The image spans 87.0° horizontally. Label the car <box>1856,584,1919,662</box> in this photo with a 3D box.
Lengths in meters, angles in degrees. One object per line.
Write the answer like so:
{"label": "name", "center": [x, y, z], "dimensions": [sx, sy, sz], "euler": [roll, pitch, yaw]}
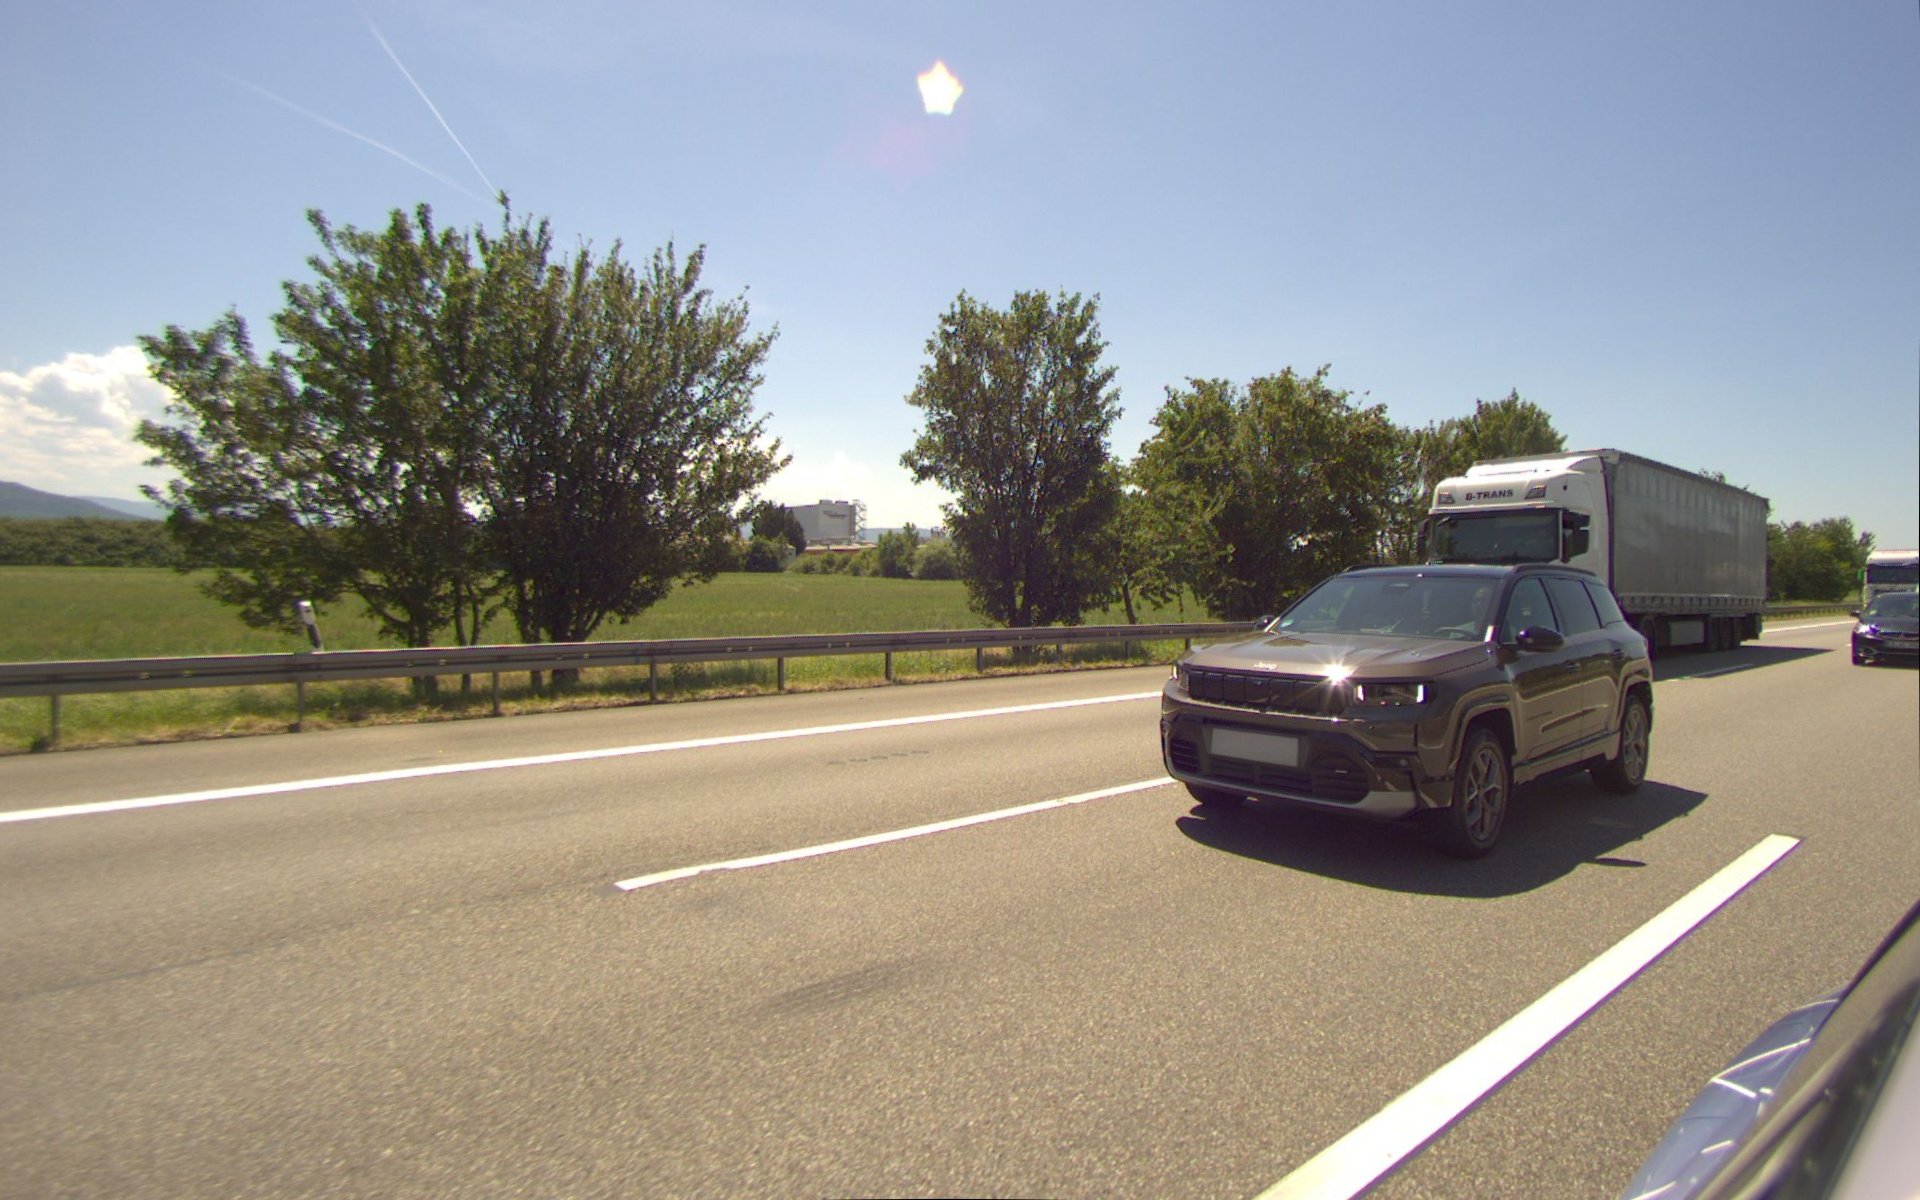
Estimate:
{"label": "car", "center": [19.600, 0.432, 20.597], "dimensions": [3.374, 1.492, 1.690], "euler": [0, 1, -42]}

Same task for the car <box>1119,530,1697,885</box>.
{"label": "car", "center": [3.356, 0.481, 7.069], "dimensions": [4.662, 1.696, 1.870], "euler": [-1, 1, -40]}

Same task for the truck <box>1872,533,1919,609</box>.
{"label": "truck", "center": [53.574, -1.569, 56.483], "dimensions": [7.563, 4.016, 2.700], "euler": [0, 0, -38]}

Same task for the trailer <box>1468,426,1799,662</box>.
{"label": "trailer", "center": [16.735, -1.121, 24.296], "dimensions": [14.002, 4.358, 2.815], "euler": [-1, 0, -40]}

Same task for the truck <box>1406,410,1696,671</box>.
{"label": "truck", "center": [12.012, -1.047, 20.289], "dimensions": [7.066, 4.358, 2.815], "euler": [-1, 0, -40]}

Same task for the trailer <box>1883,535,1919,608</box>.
{"label": "trailer", "center": [58.090, -1.608, 60.060], "dimensions": [13.706, 4.016, 2.699], "euler": [0, 0, -38]}
